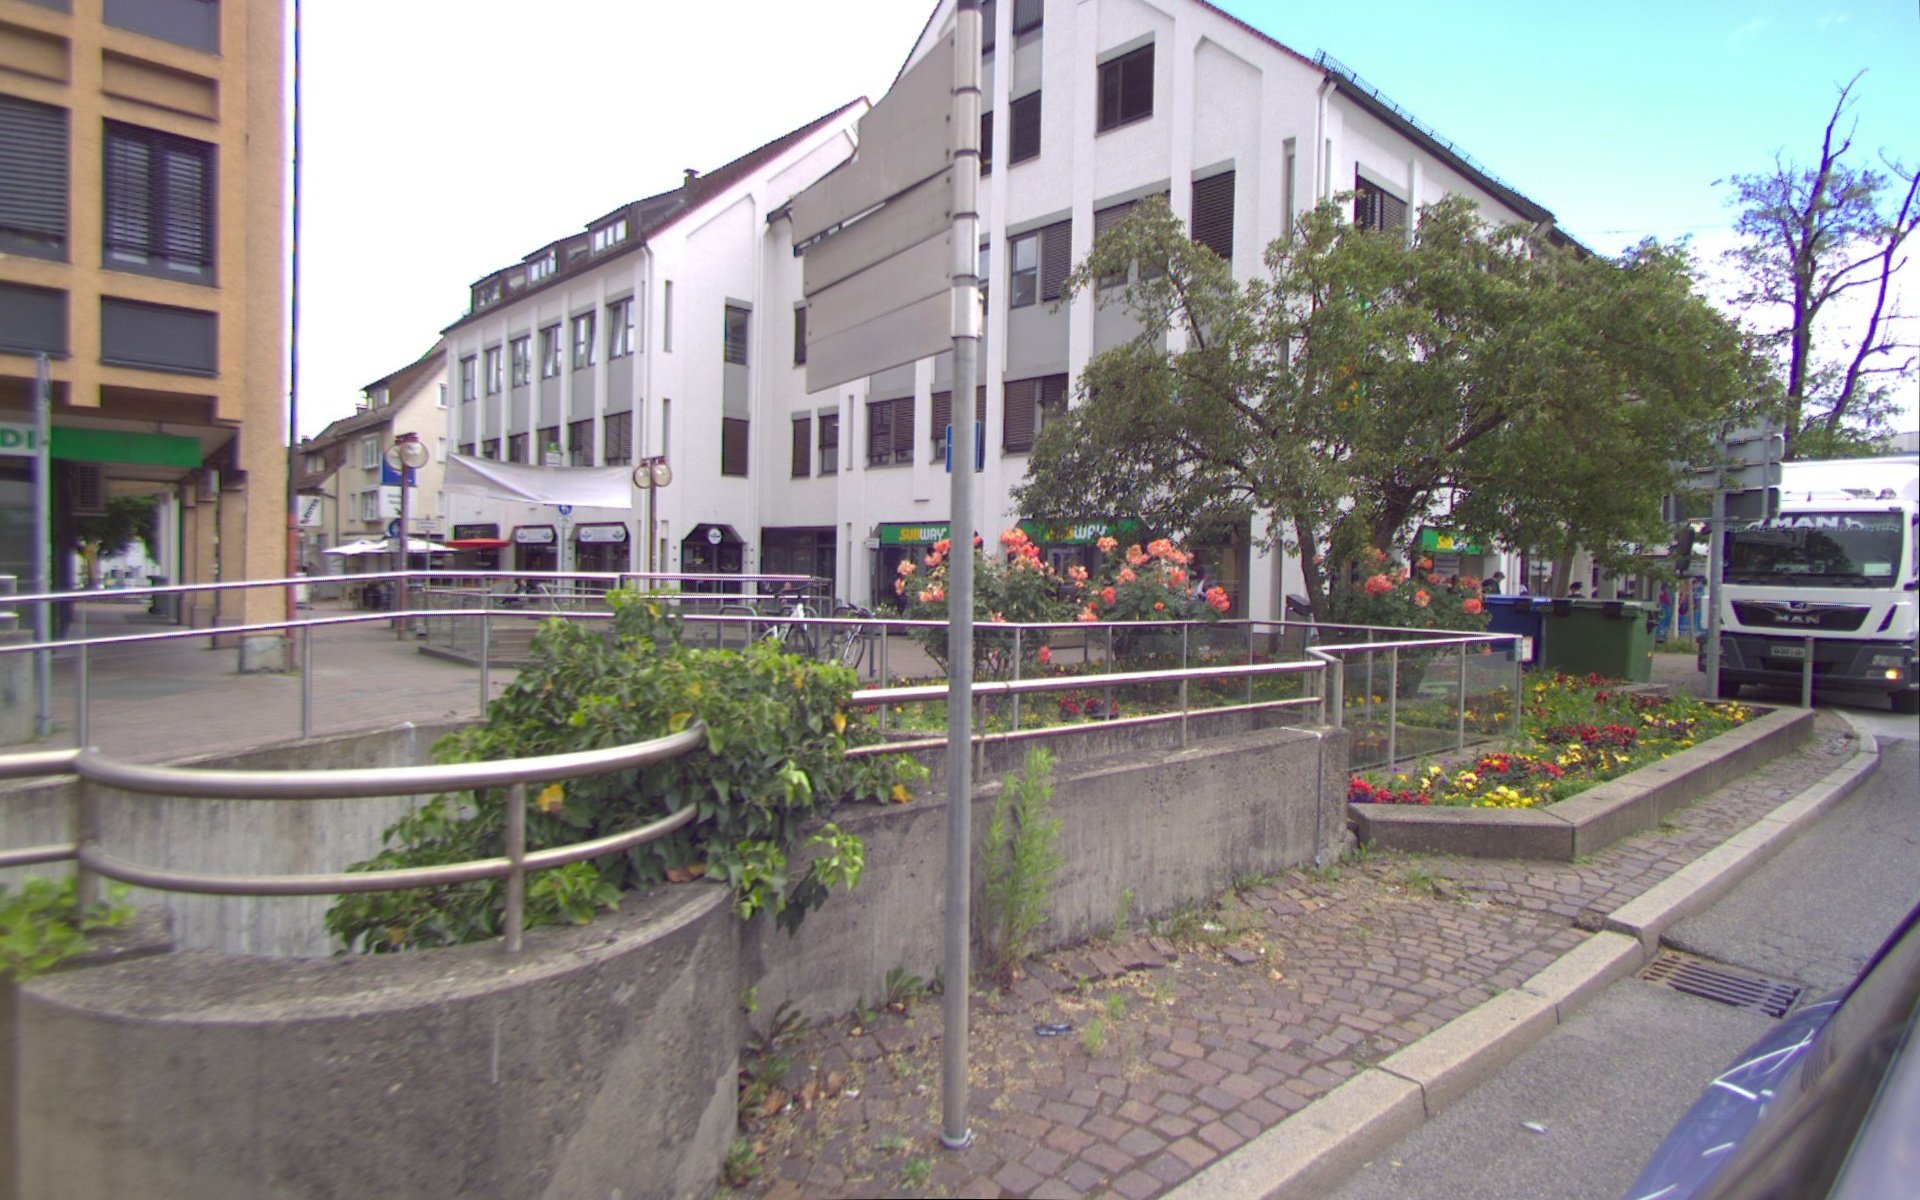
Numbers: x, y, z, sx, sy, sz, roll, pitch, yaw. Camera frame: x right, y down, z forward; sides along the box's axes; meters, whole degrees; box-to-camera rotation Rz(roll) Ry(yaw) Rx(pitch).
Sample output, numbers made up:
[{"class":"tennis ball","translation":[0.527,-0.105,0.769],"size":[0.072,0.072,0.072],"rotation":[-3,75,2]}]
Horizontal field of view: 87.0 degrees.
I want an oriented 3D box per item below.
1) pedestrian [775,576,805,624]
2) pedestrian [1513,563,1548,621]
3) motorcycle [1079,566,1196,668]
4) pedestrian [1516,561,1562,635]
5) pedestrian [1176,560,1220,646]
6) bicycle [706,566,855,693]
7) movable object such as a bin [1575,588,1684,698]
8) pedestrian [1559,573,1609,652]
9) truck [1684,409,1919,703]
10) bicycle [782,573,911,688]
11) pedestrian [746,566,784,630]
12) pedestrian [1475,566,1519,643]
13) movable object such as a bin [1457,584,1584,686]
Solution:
[{"class":"pedestrian","translation":[-4.400,-0.004,26.188],"size":[0.504,1.215,0.619],"rotation":[1,1,-43]},{"class":"pedestrian","translation":[16.372,-0.236,29.065],"size":[0.737,1.622,0.570],"rotation":[2,1,21]},{"class":"motorcycle","translation":[2.725,0.241,15.426],"size":[1.913,1.456,0.721],"rotation":[0,1,-43]},{"class":"pedestrian","translation":[13.112,-0.051,22.920],"size":[0.564,1.622,0.744],"rotation":[1,1,-44]},{"class":"pedestrian","translation":[4.562,0.048,19.396],"size":[0.502,1.622,0.621],"rotation":[1,1,-27]},{"class":"bicycle","translation":[-2.118,0.291,11.784],"size":[0.829,1.343,1.818],"rotation":[1,2,-44]},{"class":"movable object such as a bin","translation":[8.841,0.536,13.372],"size":[1.066,1.356,0.884],"rotation":[0,2,-39]},{"class":"pedestrian","translation":[13.165,0.245,21.365],"size":[0.737,1.622,0.570],"rotation":[2,1,21]},{"class":"truck","translation":[14.680,-0.564,16.359],"size":[9.596,3.605,2.693],"rotation":[0,2,-42]},{"class":"bicycle","translation":[-1.401,0.331,12.299],"size":[0.658,1.274,1.676],"rotation":[1,2,-44]},{"class":"pedestrian","translation":[-4.640,-0.056,24.049],"size":[0.605,1.494,0.611],"rotation":[2,1,40]},{"class":"pedestrian","translation":[11.692,0.088,22.051],"size":[0.732,1.622,0.573],"rotation":[1,1,-40]},{"class":"movable object such as a bin","translation":[8.078,0.468,14.596],"size":[1.351,1.356,1.146],"rotation":[0,2,-39]}]
